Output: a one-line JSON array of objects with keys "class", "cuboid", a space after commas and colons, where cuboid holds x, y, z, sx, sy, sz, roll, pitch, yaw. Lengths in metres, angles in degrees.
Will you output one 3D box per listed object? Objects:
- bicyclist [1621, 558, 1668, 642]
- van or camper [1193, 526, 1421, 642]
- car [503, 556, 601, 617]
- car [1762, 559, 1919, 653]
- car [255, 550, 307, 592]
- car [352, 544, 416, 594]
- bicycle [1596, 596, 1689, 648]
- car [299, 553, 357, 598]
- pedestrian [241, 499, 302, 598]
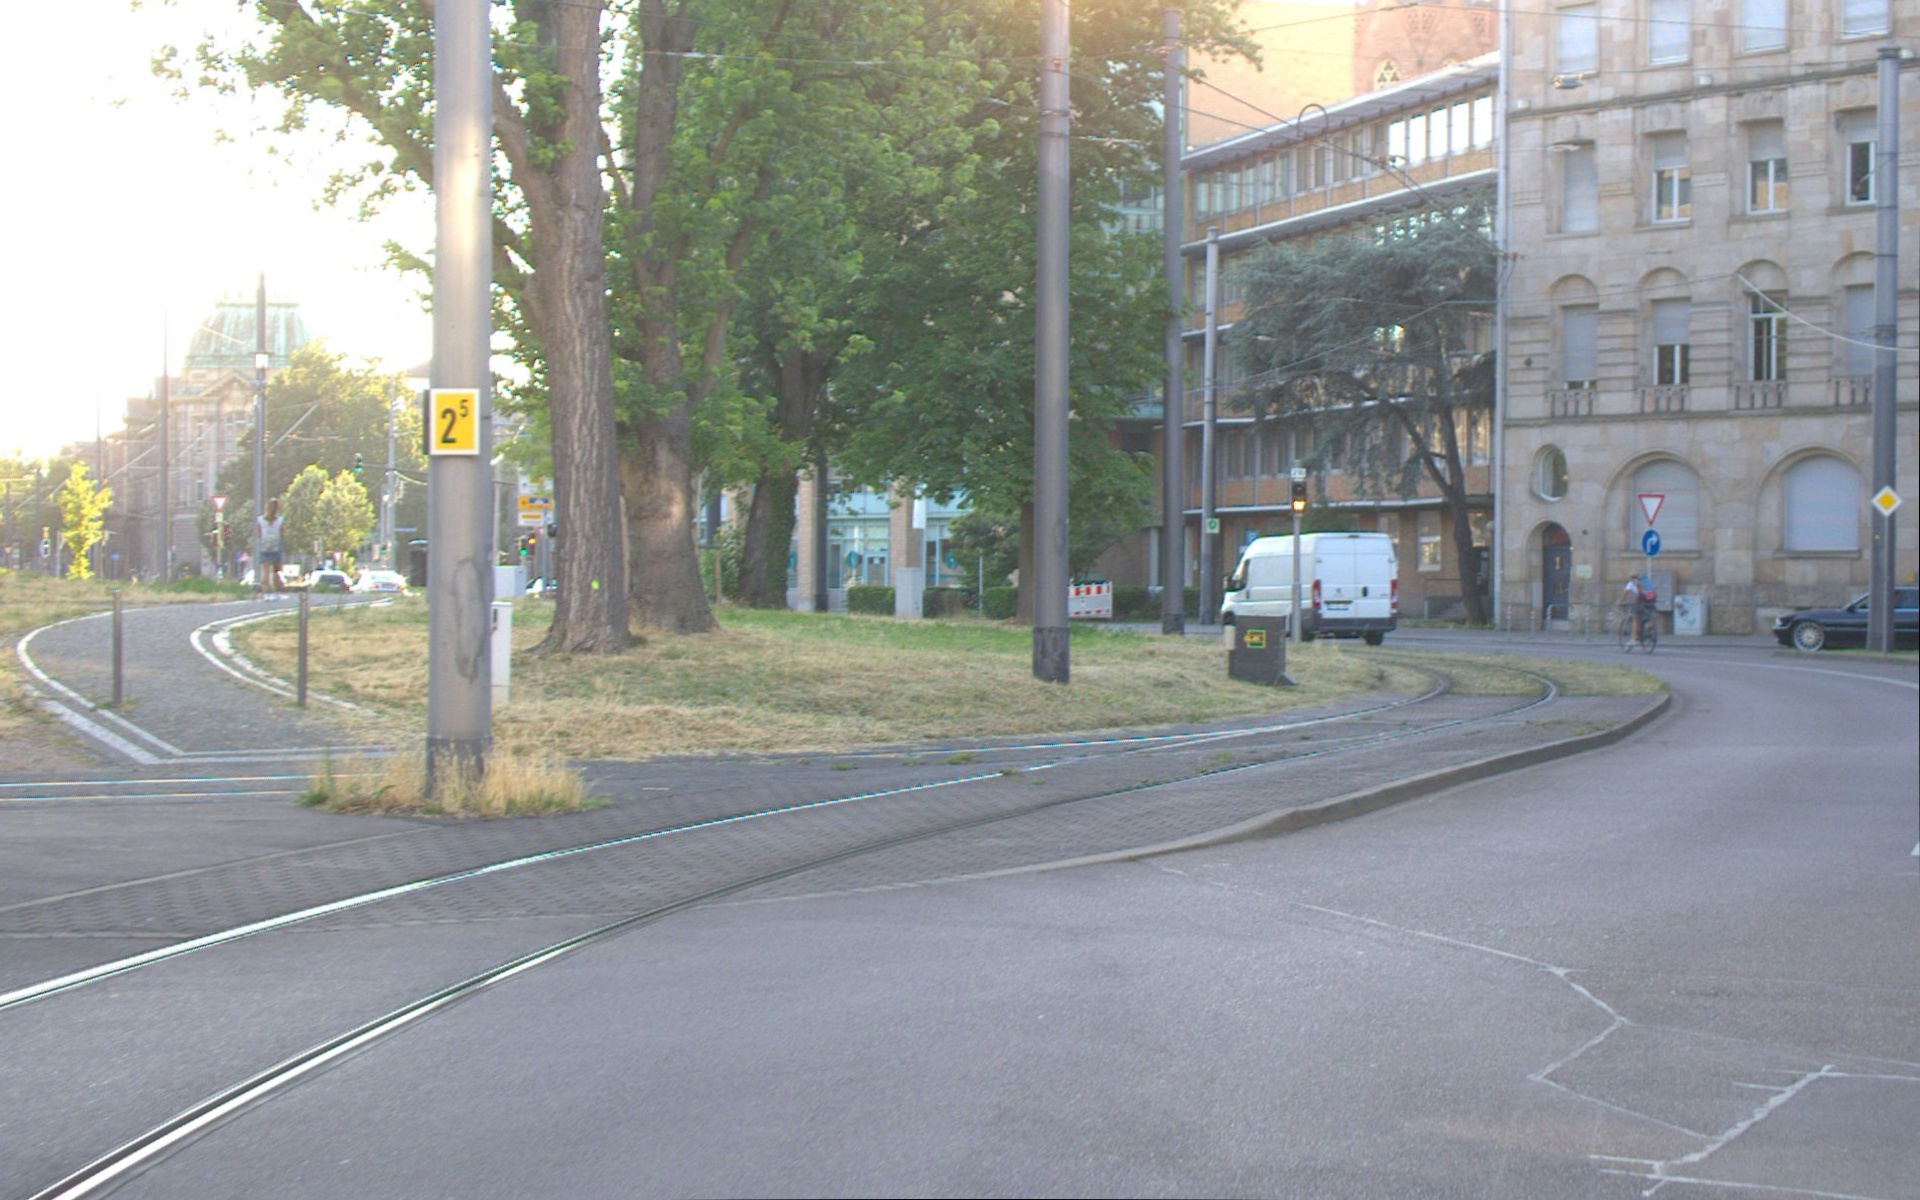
[{"class": "bicyclist", "cuboid": [13.495, -0.001, 67.786, 0.509, 1.636, 0.775, 0, 1, -27]}, {"class": "van or camper", "cuboid": [7.691, -0.413, 76.987, 2.606, 2.464, 6.322, 0, 1, -20]}, {"class": "car", "cuboid": [-13.674, -0.482, 115.126, 1.993, 1.963, 4.001, 0, 1, -27]}, {"class": "car", "cuboid": [18.198, 0.108, 66.778, 4.765, 1.756, 1.816, 1, 1, 39]}, {"class": "car", "cuboid": [-34.288, -1.483, 173.617, 2.138, 2.007, 4.001, 1, 1, -17]}, {"class": "car", "cuboid": [-24.389, -1.333, 145.571, 2.138, 2.007, 4.001, 1, 1, -17]}, {"class": "bicycle", "cuboid": [13.458, 0.423, 67.863, 0.509, 0.975, 2.242, 0, 1, -27]}, {"class": "car", "cuboid": [-29.131, -1.130, 158.443, 2.138, 2.007, 4.001, 1, 1, -17]}, {"class": "pedestrian", "cuboid": [-11.250, -0.847, 56.186, 0.637, 1.600, 0.770, 1, 1, 30]}]
